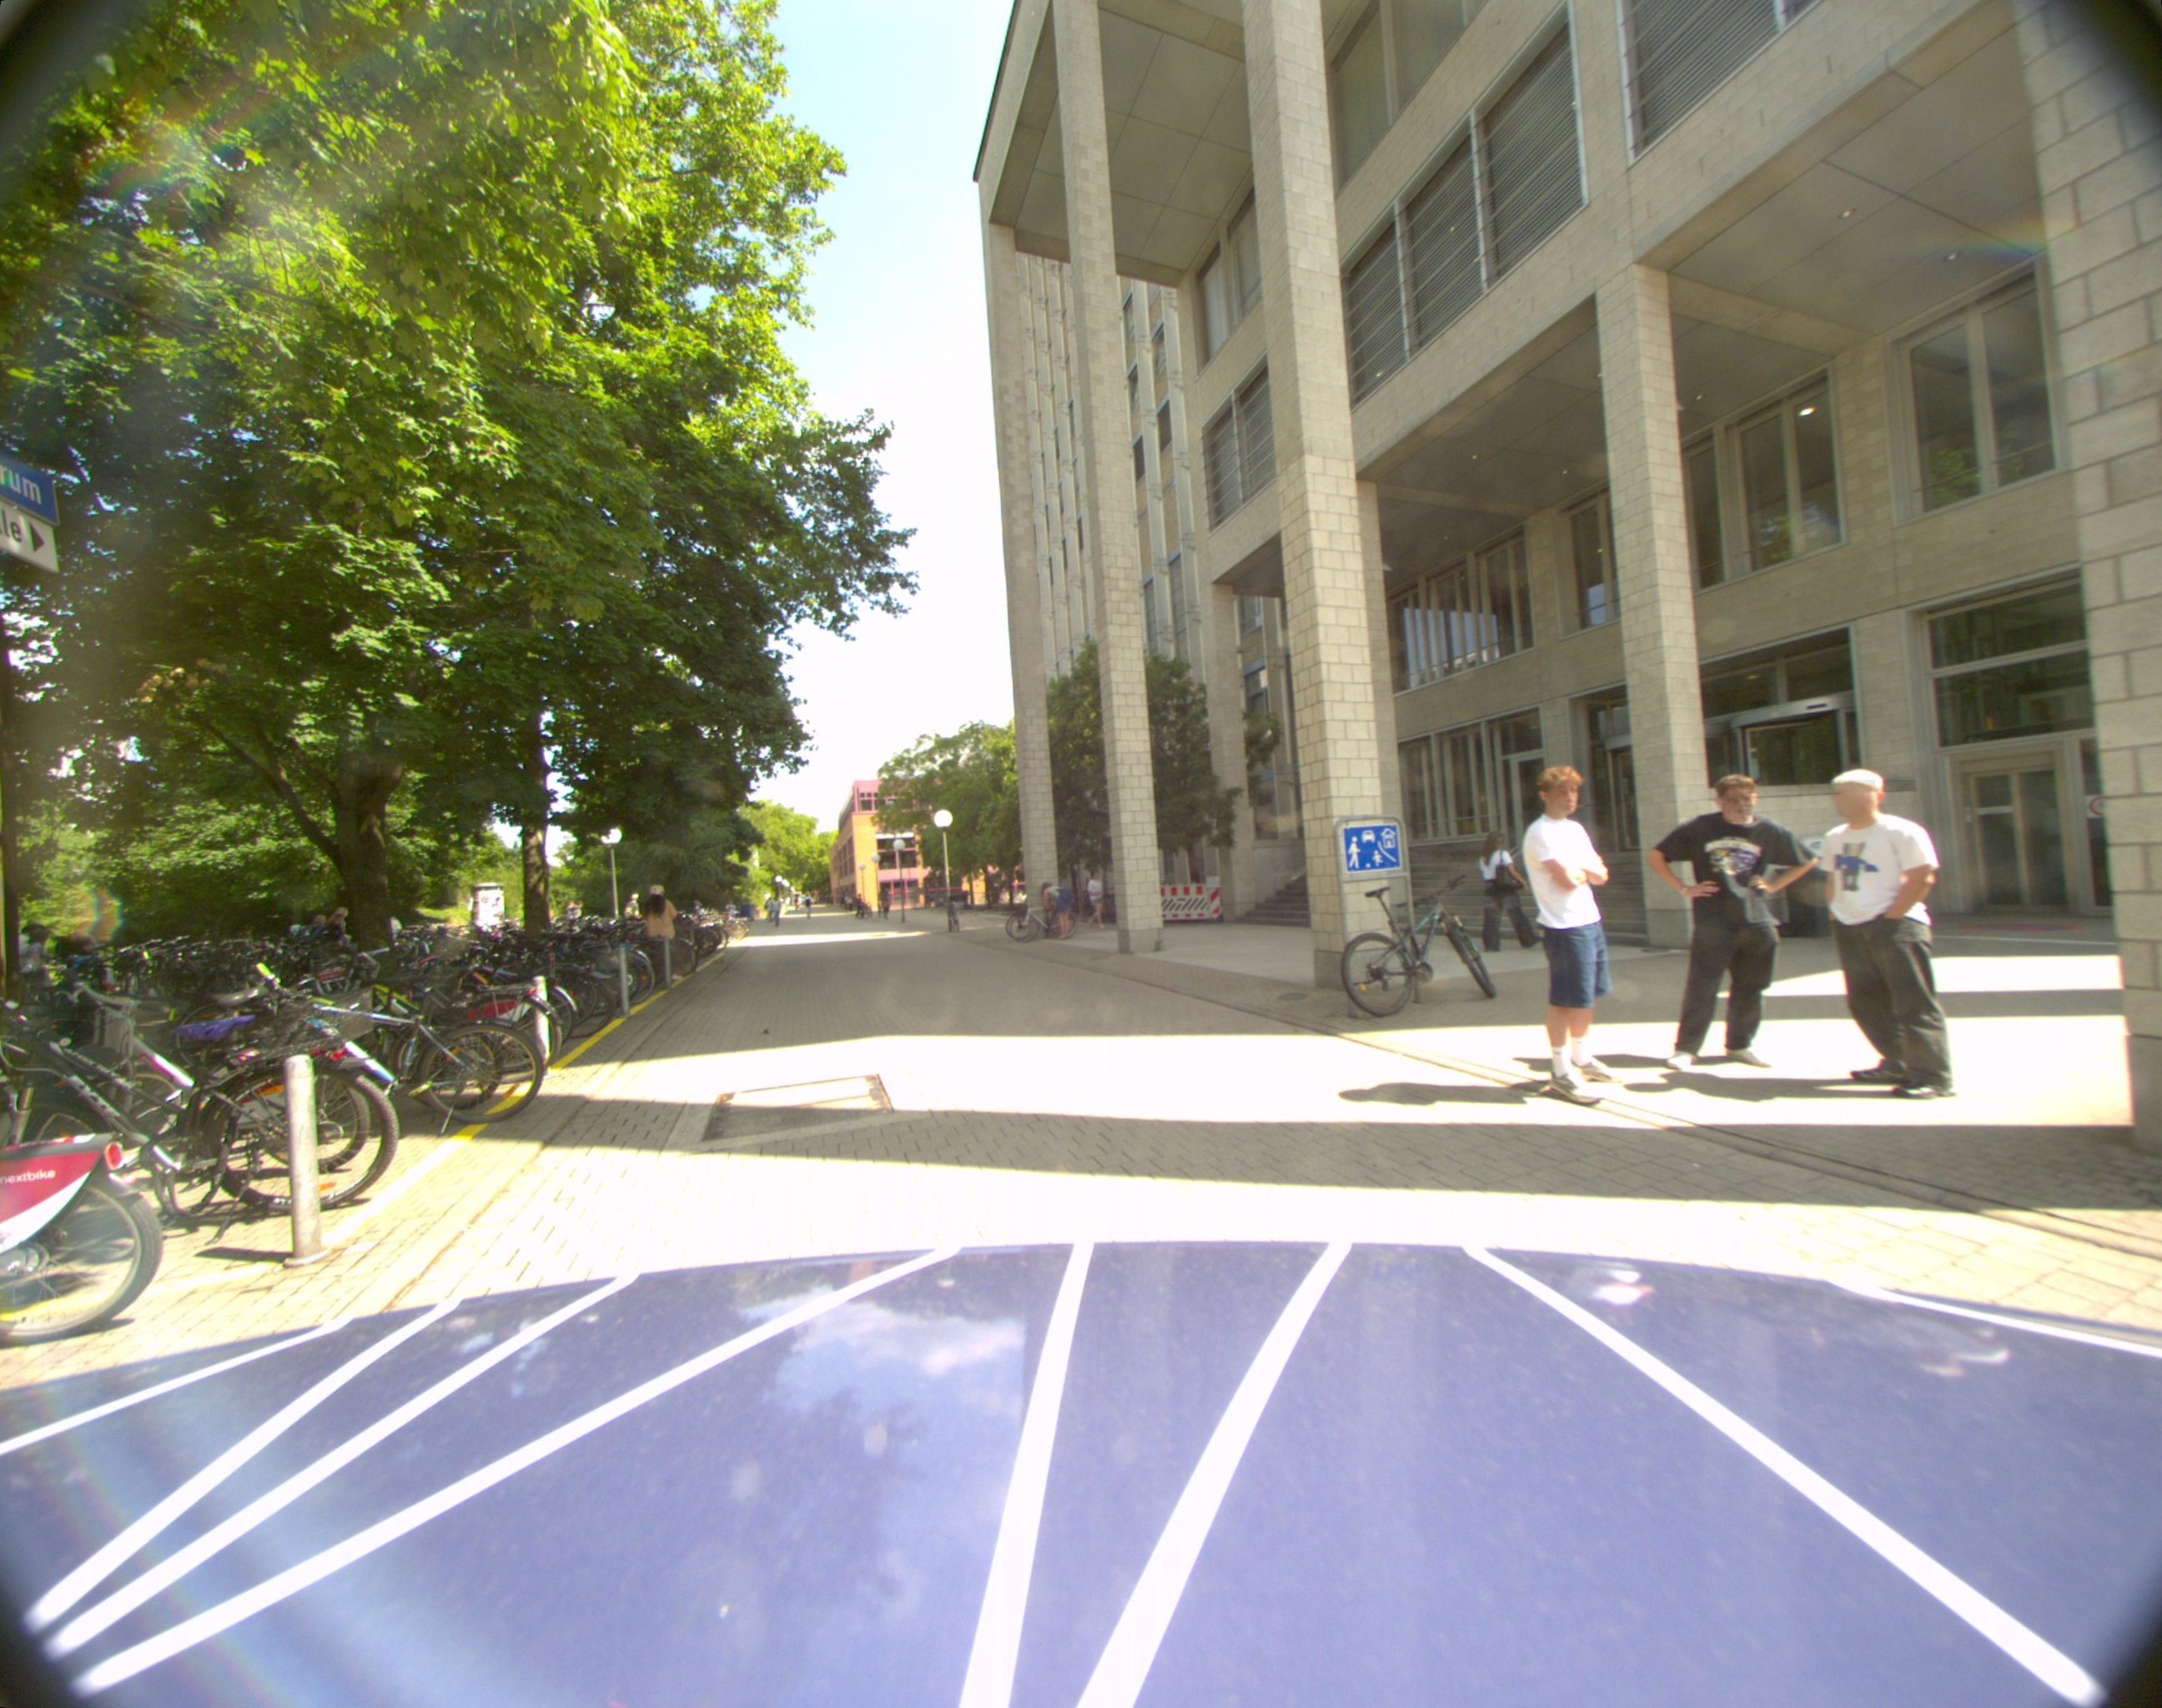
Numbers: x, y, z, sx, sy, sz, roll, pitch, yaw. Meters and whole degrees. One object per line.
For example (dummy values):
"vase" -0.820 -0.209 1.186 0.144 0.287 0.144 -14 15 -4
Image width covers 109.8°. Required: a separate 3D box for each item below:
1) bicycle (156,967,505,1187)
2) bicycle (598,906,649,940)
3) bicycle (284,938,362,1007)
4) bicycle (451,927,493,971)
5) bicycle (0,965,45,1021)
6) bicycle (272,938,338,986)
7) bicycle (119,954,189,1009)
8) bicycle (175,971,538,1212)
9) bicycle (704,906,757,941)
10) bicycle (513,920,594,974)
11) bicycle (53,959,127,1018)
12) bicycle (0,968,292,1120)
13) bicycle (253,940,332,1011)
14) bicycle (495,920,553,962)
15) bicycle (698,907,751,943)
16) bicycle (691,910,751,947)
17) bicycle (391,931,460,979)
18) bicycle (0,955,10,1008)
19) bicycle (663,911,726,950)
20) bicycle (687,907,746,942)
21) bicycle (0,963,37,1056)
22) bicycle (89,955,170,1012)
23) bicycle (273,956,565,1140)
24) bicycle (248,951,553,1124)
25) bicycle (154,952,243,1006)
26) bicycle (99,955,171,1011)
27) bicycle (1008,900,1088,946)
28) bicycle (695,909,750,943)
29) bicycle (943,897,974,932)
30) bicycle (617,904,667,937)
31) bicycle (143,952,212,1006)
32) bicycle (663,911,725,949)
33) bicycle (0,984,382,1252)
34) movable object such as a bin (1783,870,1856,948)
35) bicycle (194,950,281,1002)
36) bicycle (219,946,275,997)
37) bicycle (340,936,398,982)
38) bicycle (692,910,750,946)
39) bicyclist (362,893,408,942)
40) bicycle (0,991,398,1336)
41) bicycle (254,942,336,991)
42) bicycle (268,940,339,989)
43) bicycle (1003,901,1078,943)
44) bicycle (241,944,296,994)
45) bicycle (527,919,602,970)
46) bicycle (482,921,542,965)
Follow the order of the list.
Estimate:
"bicycle" -4.621 1.340 4.787 1.475 1.079 0.460 -2 0 -19
"bicycle" -15.876 2.398 26.373 1.685 1.076 0.479 -5 -3 16
"bicycle" -13.642 2.124 13.660 1.841 1.163 0.346 -4 -1 25
"bicycle" -15.902 2.484 19.831 1.468 1.076 0.455 -6 -4 35
"bicycle" -20.790 2.679 14.739 1.798 0.973 0.379 -4 0 23
"bicycle" -19.287 2.690 18.883 1.470 1.076 0.353 -4 -3 9
"bicycle" -19.946 2.736 16.349 1.469 1.076 0.353 -5 -3 13
"bicycle" -4.135 1.316 4.462 1.442 1.079 0.460 -2 0 -23
"bicycle" -12.893 2.546 27.966 1.690 1.143 0.550 -2 -4 -25
"bicycle" -12.305 2.161 17.766 1.473 1.077 0.352 -3 -1 -24
"bicycle" -20.060 2.727 15.379 1.469 1.076 0.353 -5 -3 14
"bicycle" -8.164 1.620 6.608 1.828 1.071 0.463 -2 0 -12
"bicycle" -13.916 2.126 13.402 1.841 1.163 0.346 -4 -1 25
"bicycle" -15.593 2.432 21.278 1.470 1.076 0.353 -4 -3 8
"bicycle" -12.819 2.556 27.340 1.690 1.143 0.550 -2 -4 -25
"bicycle" -11.739 2.431 24.806 1.690 1.076 0.528 -2 -4 -25
"bicycle" -16.129 2.483 18.694 1.469 1.076 0.479 -5 -3 13
"bicycle" -20.968 2.431 14.392 1.798 0.973 0.379 -4 0 23
"bicycle" -11.882 2.339 23.395 1.690 1.076 0.478 -2 -4 -25
"bicycle" -12.410 2.388 25.883 1.688 1.076 0.529 -3 -3 -10
"bicycle" -15.020 2.136 10.550 1.841 1.163 0.414 -4 -1 31
"bicycle" -17.903 2.415 14.287 1.899 0.973 0.479 -4 0 25
"bicycle" -4.751 1.366 5.548 1.516 1.079 0.481 -2 0 -15
"bicycle" -5.200 1.377 5.908 1.697 1.079 0.481 -2 0 -15
"bicycle" -17.663 2.503 15.202 1.900 0.973 0.479 -4 0 20
"bicycle" -19.882 2.708 15.965 1.469 1.076 0.353 -5 -3 13
"bicycle" -0.777 1.597 17.769 1.777 0.894 0.337 -4 -1 -15
"bicycle" -12.547 2.511 26.622 1.690 1.076 0.528 -2 -4 -25
"bicycle" -4.040 1.967 24.936 0.571 1.096 1.831 -2 -2 -22
"bicycle" -15.697 2.373 27.182 1.685 1.076 0.479 -5 -3 16
"bicycle" -19.863 2.756 16.698 1.469 1.076 0.353 -5 -3 13
"bicycle" -12.173 2.382 23.969 1.690 1.076 0.528 -2 -4 -25
"bicycle" -4.553 1.294 3.839 1.525 1.134 0.492 -2 0 -1
"movable object such as a bin" 9.601 0.697 9.879 0.512 0.944 0.512 -3 2 -22
"bicycle" -17.522 2.538 15.778 1.900 0.973 0.479 -4 0 20
"bicycle" -19.258 2.716 17.537 1.469 1.076 0.353 -5 -4 20
"bicycle" -16.498 2.412 17.594 1.899 0.973 0.479 -4 0 32
"bicycle" -11.965 2.456 25.288 1.690 1.076 0.528 -2 -4 -25
"bicyclist" -21.760 1.973 23.765 0.743 1.438 0.805 -4 -1 27
"bicycle" -4.018 1.271 3.250 1.491 1.134 0.560 -2 0 -23
"bicycle" -17.158 2.456 16.579 1.900 0.973 0.479 -4 0 20
"bicycle" -18.880 2.682 18.447 1.470 1.076 0.353 -4 -3 6
"bicycle" -0.984 1.657 18.581 1.775 0.894 0.448 -3 -2 -2
"bicycle" -19.128 2.703 17.879 1.469 1.076 0.353 -5 -4 20
"bicycle" -12.680 2.216 18.687 1.474 1.077 0.352 -3 -1 -33
"bicycle" -15.648 2.442 20.883 1.470 1.076 0.353 -4 -3 8
